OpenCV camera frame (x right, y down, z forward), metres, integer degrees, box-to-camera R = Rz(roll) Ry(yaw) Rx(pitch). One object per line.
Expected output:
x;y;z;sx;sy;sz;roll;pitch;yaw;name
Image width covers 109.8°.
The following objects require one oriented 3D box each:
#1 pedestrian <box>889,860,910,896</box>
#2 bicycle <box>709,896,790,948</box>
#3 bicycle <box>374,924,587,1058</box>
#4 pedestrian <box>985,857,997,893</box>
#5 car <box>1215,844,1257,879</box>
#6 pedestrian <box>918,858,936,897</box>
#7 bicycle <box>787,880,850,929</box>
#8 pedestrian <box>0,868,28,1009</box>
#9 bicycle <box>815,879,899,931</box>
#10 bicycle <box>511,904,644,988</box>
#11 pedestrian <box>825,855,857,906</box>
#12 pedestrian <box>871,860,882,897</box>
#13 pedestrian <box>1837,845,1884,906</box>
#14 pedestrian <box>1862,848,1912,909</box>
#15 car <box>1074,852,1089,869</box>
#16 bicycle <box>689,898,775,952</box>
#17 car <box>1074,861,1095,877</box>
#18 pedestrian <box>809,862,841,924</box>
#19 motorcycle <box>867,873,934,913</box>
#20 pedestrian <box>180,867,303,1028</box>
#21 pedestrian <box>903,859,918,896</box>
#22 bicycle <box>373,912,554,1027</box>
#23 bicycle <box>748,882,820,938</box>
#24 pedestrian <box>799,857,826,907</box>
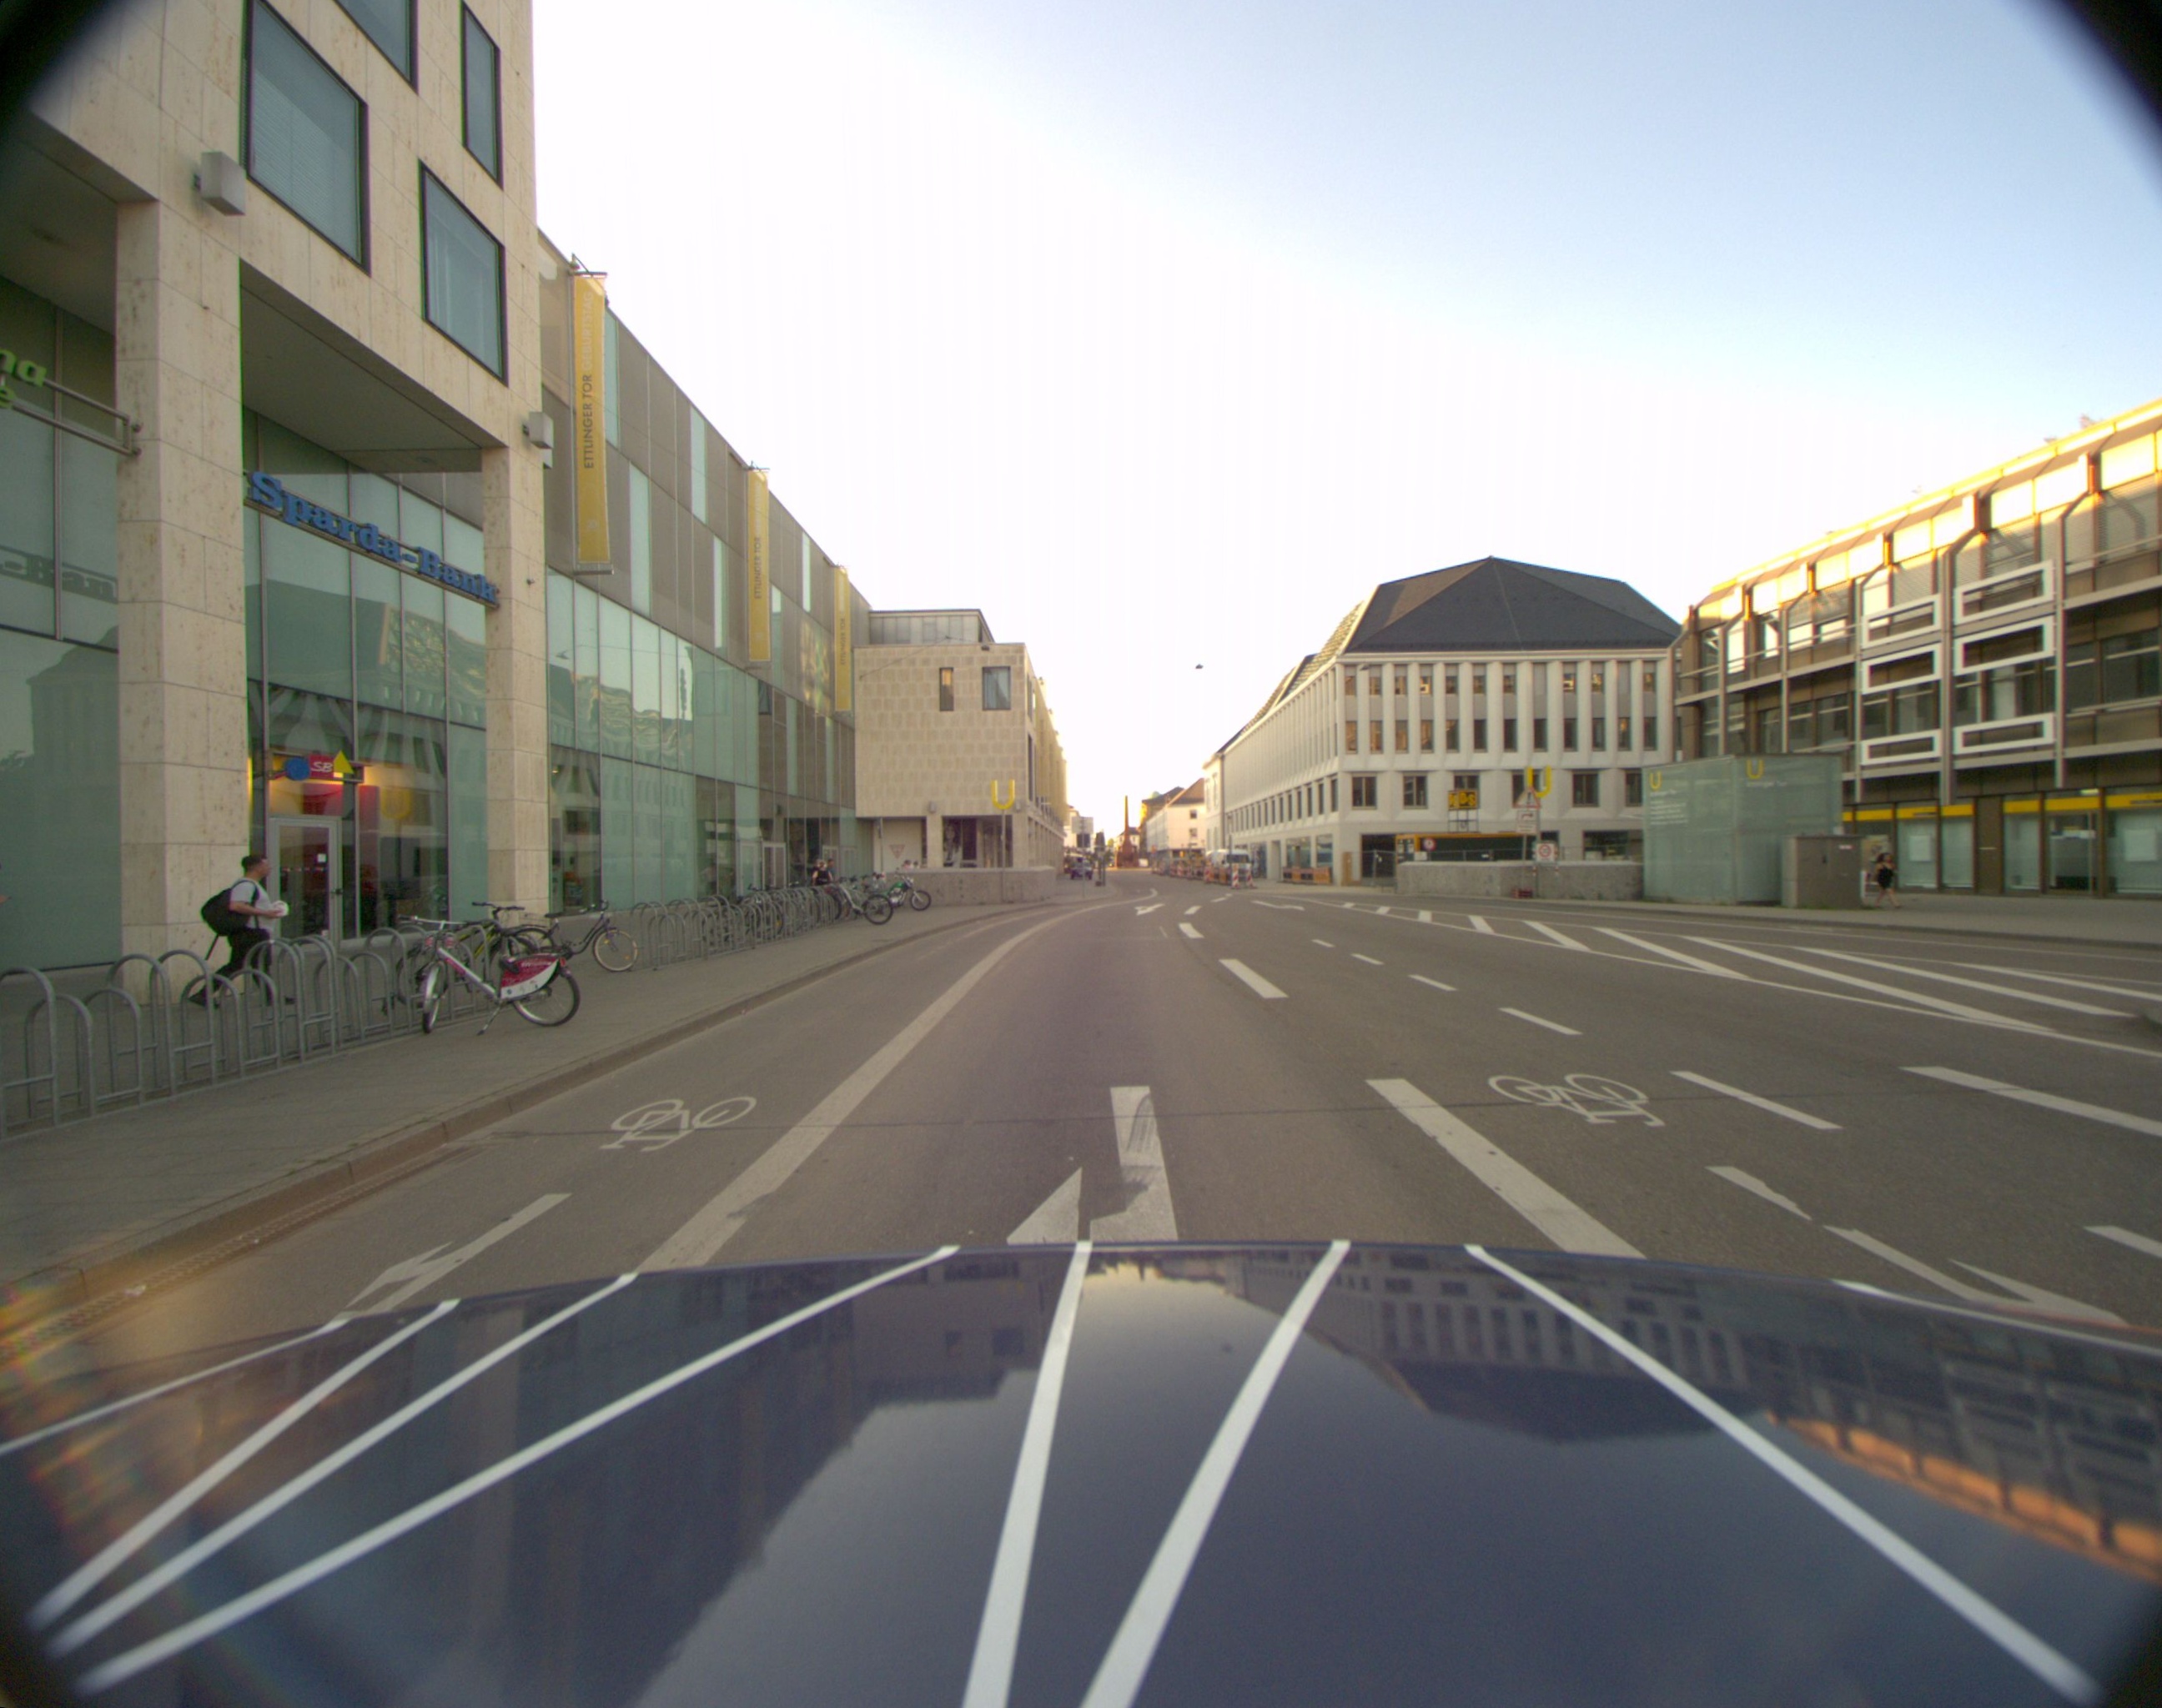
-8.815;1.139;36.886;0.793;1.733;0.657;-1;0;3;pedestrian
-6.595;1.354;15.151;1.345;0.927;0.518;-3;0;-1;bicycle
-5.397;1.221;6.868;1.518;1.057;0.466;-3;0;1;bicycle
-4.307;1.012;36.467;0.454;1.733;0.493;-1;0;3;pedestrian
11.988;0.590;59.164;2.141;2.540;6.050;-1;0;1;car
-7.181;1.087;35.364;0.619;1.770;0.812;-1;0;3;pedestrian
-6.602;1.266;19.165;1.345;1.157;0.518;-3;0;-1;bicycle
-12.909;0.983;8.729;0.629;1.642;0.708;-1;0;2;pedestrian
-5.387;1.220;18.321;1.838;1.140;0.466;-3;0;1;bicycle
-7.301;1.316;11.074;1.447;1.058;0.580;-3;0;-10;bicycle
-8.252;0.894;26.078;0.822;1.686;0.696;-1;0;-40;pedestrian
-9.687;1.163;35.954;0.364;1.733;0.452;-1;0;3;pedestrian
21.269;0.588;20.740;0.670;1.629;0.584;-1;0;1;pedestrian
22.002;0.665;20.747;0.616;1.629;0.703;-1;0;1;pedestrian
0.138;0.862;100.538;1.798;2.198;3.671;-1;0;2;car
-6.653;1.345;14.505;1.345;0.927;0.518;-3;0;-1;bicycle
0.337;1.295;67.796;1.798;1.365;3.671;-1;0;2;car
-6.977;1.052;20.722;0.809;1.633;0.646;-1;0;-18;pedestrian
-5.709;1.243;24.086;2.007;1.217;0.480;-1;0;-2;motorcycle
-9.318;0.996;8.451;0.628;1.682;0.709;-1;0;20;pedestrian
-8.162;1.120;36.344;0.494;1.733;0.657;-1;0;3;pedestrian
-6.797;1.260;8.394;1.518;1.117;0.581;-3;0;4;bicycle
-6.658;1.239;17.079;1.345;1.157;0.518;-3;0;-1;bicycle
-9.020;0.923;25.560;0.821;1.638;0.739;-1;0;-19;pedestrian
